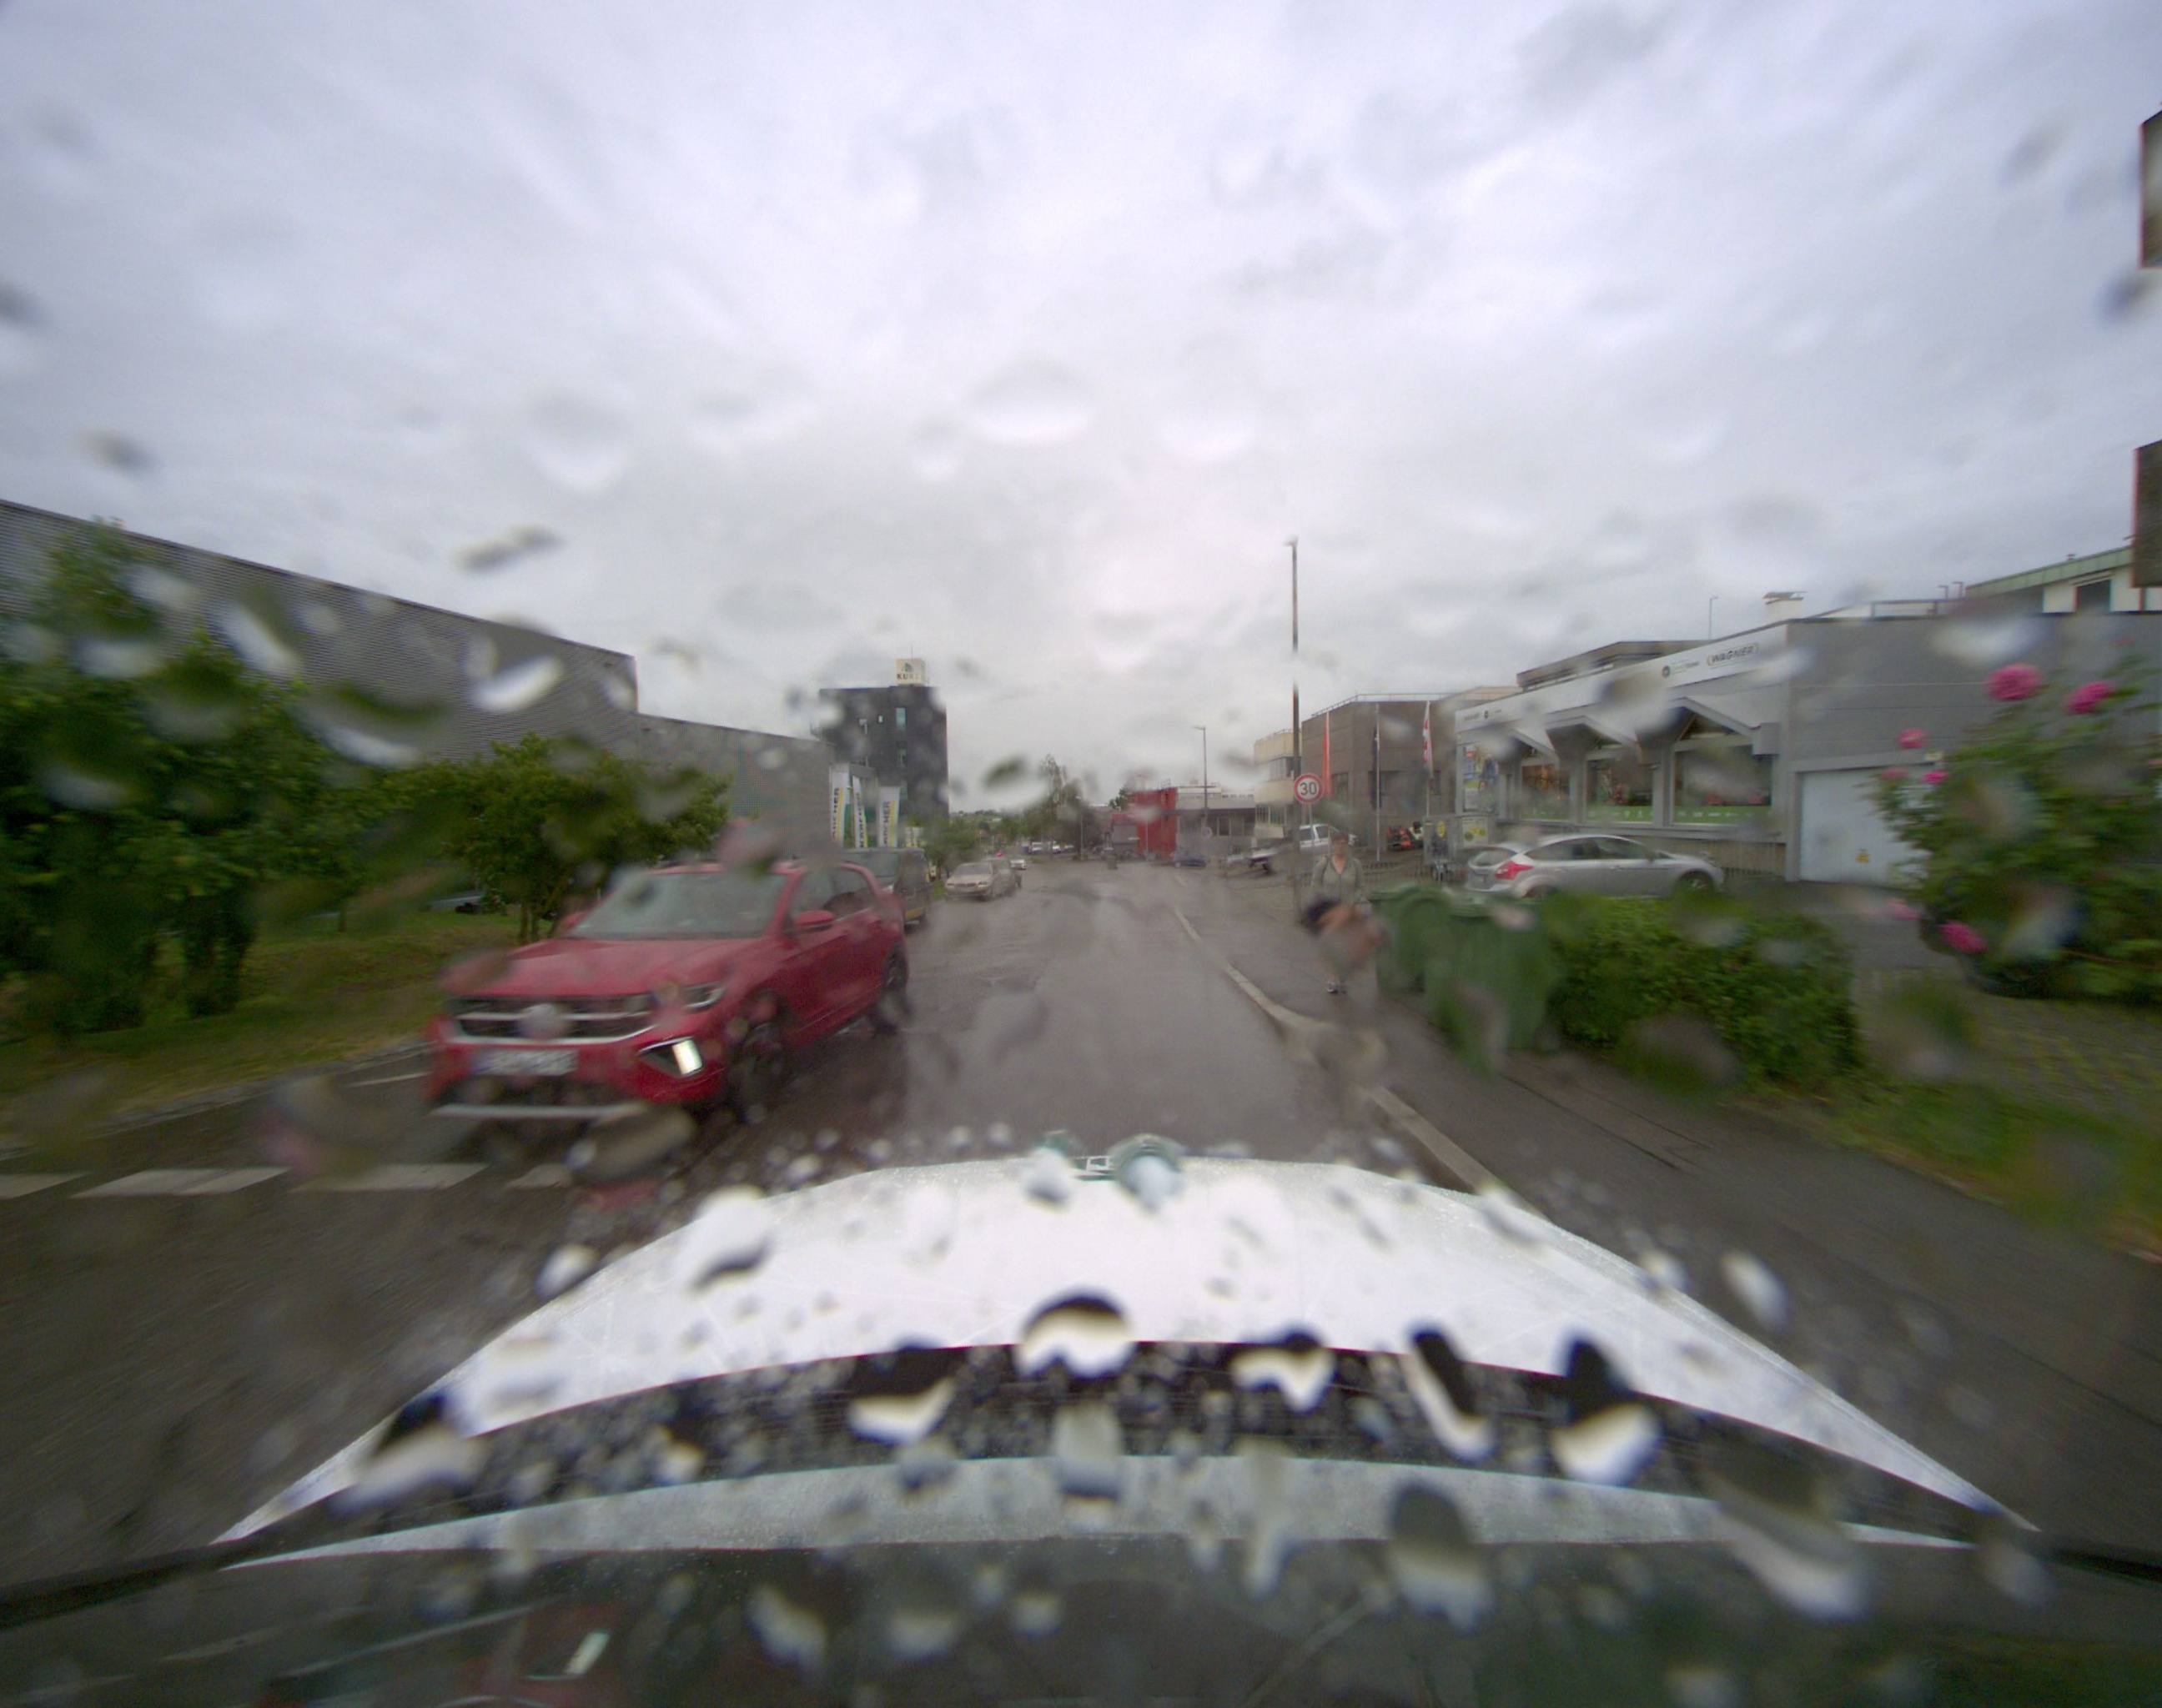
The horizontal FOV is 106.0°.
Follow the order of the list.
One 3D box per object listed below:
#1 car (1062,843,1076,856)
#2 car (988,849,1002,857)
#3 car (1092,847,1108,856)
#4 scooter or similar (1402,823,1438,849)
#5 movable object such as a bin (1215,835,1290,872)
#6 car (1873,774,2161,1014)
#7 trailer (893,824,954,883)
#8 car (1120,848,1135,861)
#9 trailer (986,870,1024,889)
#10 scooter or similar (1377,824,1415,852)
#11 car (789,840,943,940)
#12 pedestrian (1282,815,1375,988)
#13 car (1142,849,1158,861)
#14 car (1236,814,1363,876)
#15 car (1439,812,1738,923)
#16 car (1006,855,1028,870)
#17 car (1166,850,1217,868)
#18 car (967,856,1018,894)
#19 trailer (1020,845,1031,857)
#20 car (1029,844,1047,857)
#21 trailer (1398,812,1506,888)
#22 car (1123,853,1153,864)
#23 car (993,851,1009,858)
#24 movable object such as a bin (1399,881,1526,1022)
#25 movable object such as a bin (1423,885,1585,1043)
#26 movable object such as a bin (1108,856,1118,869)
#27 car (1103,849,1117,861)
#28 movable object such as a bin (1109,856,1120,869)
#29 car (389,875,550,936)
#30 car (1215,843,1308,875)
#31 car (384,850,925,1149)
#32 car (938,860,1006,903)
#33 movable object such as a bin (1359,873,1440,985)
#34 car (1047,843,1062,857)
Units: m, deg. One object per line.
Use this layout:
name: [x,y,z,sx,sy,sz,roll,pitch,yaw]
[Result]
car: [-2.217,-0.795,145.816,2.143,2.014,3.930,-2,-1,-6]
car: [-20.595,-0.236,195.159,2.004,1.704,3.965,-2,-1,-27]
car: [3.081,-0.427,132.076,2.544,1.352,1.240,-2,0,-6]
scooter or similar: [16.799,-0.882,40.436,0.999,1.155,1.847,-6,0,3]
movable object such as a bin: [10.570,-0.036,50.319,4.240,2.110,1.477,-3,0,0]
car: [8.712,0.260,5.805,1.743,1.750,4.473,-2,-1,0]
trailer: [-11.730,0.003,60.528,4.132,4.203,2.019,-3,0,38]
car: [6.295,0.107,110.683,1.734,1.653,3.999,-2,-1,0]
trailer: [-3.984,1.319,43.128,1.675,0.888,3.895,-2,-1,-1]
scooter or similar: [15.582,-0.807,40.378,1.060,1.224,2.066,-6,2,3]
car: [-4.456,0.696,17.731,1.908,1.831,4.849,-1,0,1]
pedestrian: [2.662,0.496,8.828,0.734,1.767,0.809,-1,-1,1]
car: [9.272,0.164,109.778,1.723,1.422,3.999,-2,-1,0]
car: [10.434,-0.415,39.157,5.283,2.013,2.221,-10,-1,-1]
car: [9.023,0.239,14.773,4.108,1.574,2.003,-4,-1,-1]
car: [-6.821,0.899,86.616,1.771,1.513,4.128,-3,-1,-11]
car: [8.818,0.423,65.282,3.883,1.383,1.820,0,-1,-1]
car: [-4.128,0.959,38.750,1.952,1.577,4.837,-3,-1,-1]
trailer: [-10.126,-0.511,148.310,1.851,2.013,3.990,-2,0,-8]
car: [-7.653,-0.617,144.335,2.269,2.014,3.979,-2,-1,-15]
trailer: [12.975,-0.178,28.802,1.880,2.416,4.310,-2,1,2]
car: [6.443,0.468,92.170,3.388,1.163,1.792,-2,0,1]
car: [-18.616,0.108,189.620,2.474,1.539,3.965,-2,-1,-27]
movable object such as a bin: [3.129,0.779,6.727,0.740,1.066,0.637,-1,0,1]
movable object such as a bin: [3.071,0.770,5.993,0.769,1.030,0.808,-1,0,1]
movable object such as a bin: [2.726,0.754,70.172,0.774,1.076,0.582,-2,0,-5]
car: [3.929,0.143,109.978,1.692,1.475,3.999,-2,-1,0]
movable object such as a bin: [2.823,0.747,69.526,0.805,1.092,0.708,-2,0,-5]
car: [-20.448,1.703,27.309,4.182,1.771,1.941,-1,3,12]
car: [10.675,0.269,48.434,5.076,1.613,1.924,-3,1,-1]
car: [-2.594,0.778,6.148,1.739,1.508,3.940,-1,-1,5]
car: [-4.220,1.030,32.372,1.949,1.461,5.247,-2,0,0]
movable object such as a bin: [3.377,0.775,8.696,0.723,1.113,0.707,-1,0,16]
car: [-4.653,-0.701,144.807,2.191,2.459,3.988,-2,-1,-8]
